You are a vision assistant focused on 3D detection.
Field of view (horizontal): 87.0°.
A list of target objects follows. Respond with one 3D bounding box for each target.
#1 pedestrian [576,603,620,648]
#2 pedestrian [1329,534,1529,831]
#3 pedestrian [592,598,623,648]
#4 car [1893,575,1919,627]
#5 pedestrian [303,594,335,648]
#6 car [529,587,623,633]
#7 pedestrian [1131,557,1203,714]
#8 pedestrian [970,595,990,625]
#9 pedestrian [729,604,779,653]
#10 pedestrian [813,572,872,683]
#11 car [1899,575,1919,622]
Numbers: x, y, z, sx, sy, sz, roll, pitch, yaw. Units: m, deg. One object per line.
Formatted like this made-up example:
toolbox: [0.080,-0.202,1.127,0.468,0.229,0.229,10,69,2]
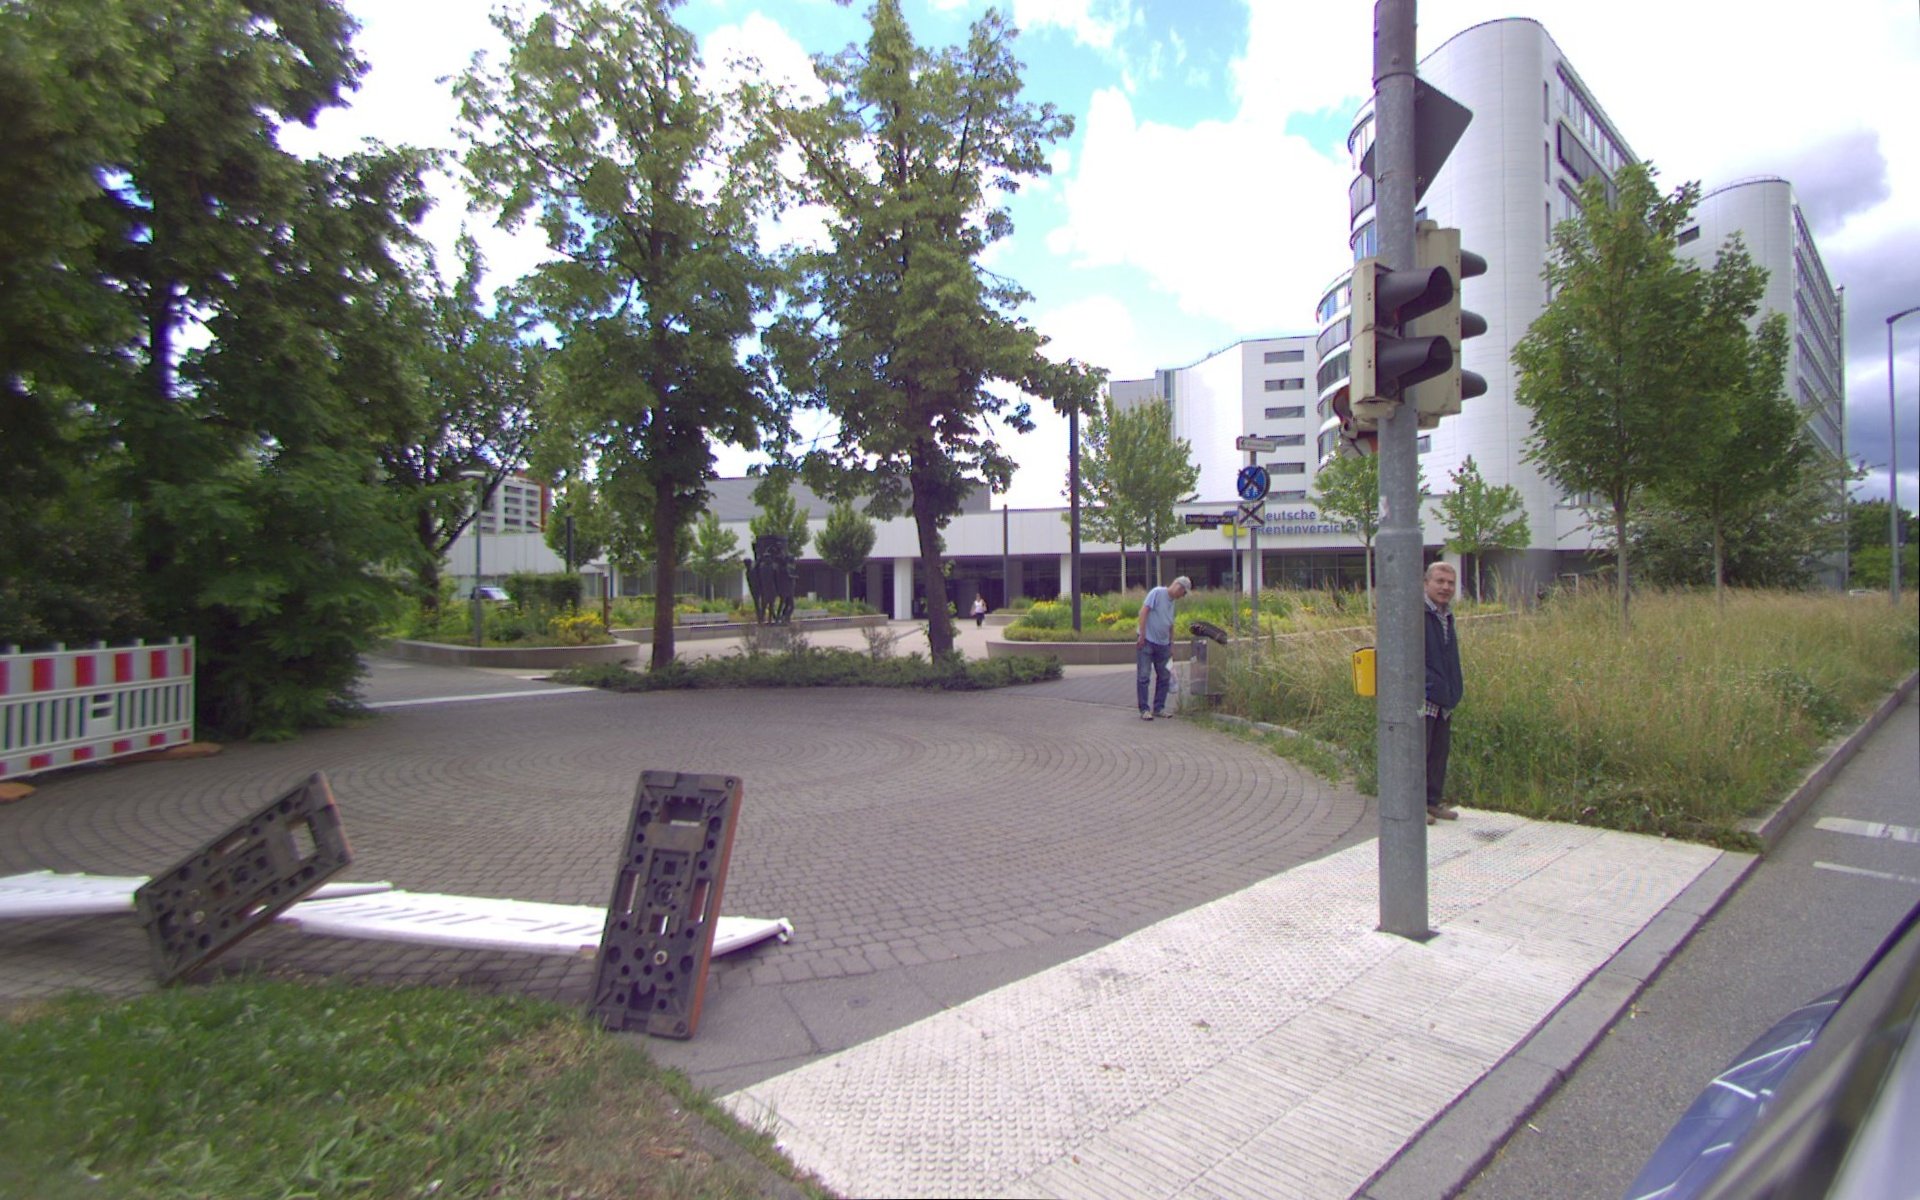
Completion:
pedestrian: [-7.866,0.546,22.003,0.735,0.960,0.714,0,0,-5]
pedestrian: [3.004,0.481,6.558,0.713,1.762,0.958,0,0,-16]
pedestrian: [-9.270,0.602,26.591,0.560,1.278,0.581,-1,1,-45]
car: [30.631,0.011,31.817,3.389,1.594,1.735,-1,1,-44]
pedestrian: [-18.485,0.596,29.186,0.625,1.520,0.703,0,0,-45]
car: [-15.688,0.400,41.321,3.467,1.788,1.624,-1,1,25]
pedestrian: [2.484,0.404,12.098,0.685,1.813,0.723,-1,0,22]
pedestrian: [0.873,0.437,44.063,0.869,1.290,0.704,0,0,0]
pedestrian: [-3.855,0.524,18.932,0.650,0.874,0.686,1,1,44]
pedestrian: [-1.875,0.416,16.109,0.650,1.716,0.686,0,1,44]
car: [34.045,-0.070,35.170,4.547,1.594,1.847,-1,1,-44]
